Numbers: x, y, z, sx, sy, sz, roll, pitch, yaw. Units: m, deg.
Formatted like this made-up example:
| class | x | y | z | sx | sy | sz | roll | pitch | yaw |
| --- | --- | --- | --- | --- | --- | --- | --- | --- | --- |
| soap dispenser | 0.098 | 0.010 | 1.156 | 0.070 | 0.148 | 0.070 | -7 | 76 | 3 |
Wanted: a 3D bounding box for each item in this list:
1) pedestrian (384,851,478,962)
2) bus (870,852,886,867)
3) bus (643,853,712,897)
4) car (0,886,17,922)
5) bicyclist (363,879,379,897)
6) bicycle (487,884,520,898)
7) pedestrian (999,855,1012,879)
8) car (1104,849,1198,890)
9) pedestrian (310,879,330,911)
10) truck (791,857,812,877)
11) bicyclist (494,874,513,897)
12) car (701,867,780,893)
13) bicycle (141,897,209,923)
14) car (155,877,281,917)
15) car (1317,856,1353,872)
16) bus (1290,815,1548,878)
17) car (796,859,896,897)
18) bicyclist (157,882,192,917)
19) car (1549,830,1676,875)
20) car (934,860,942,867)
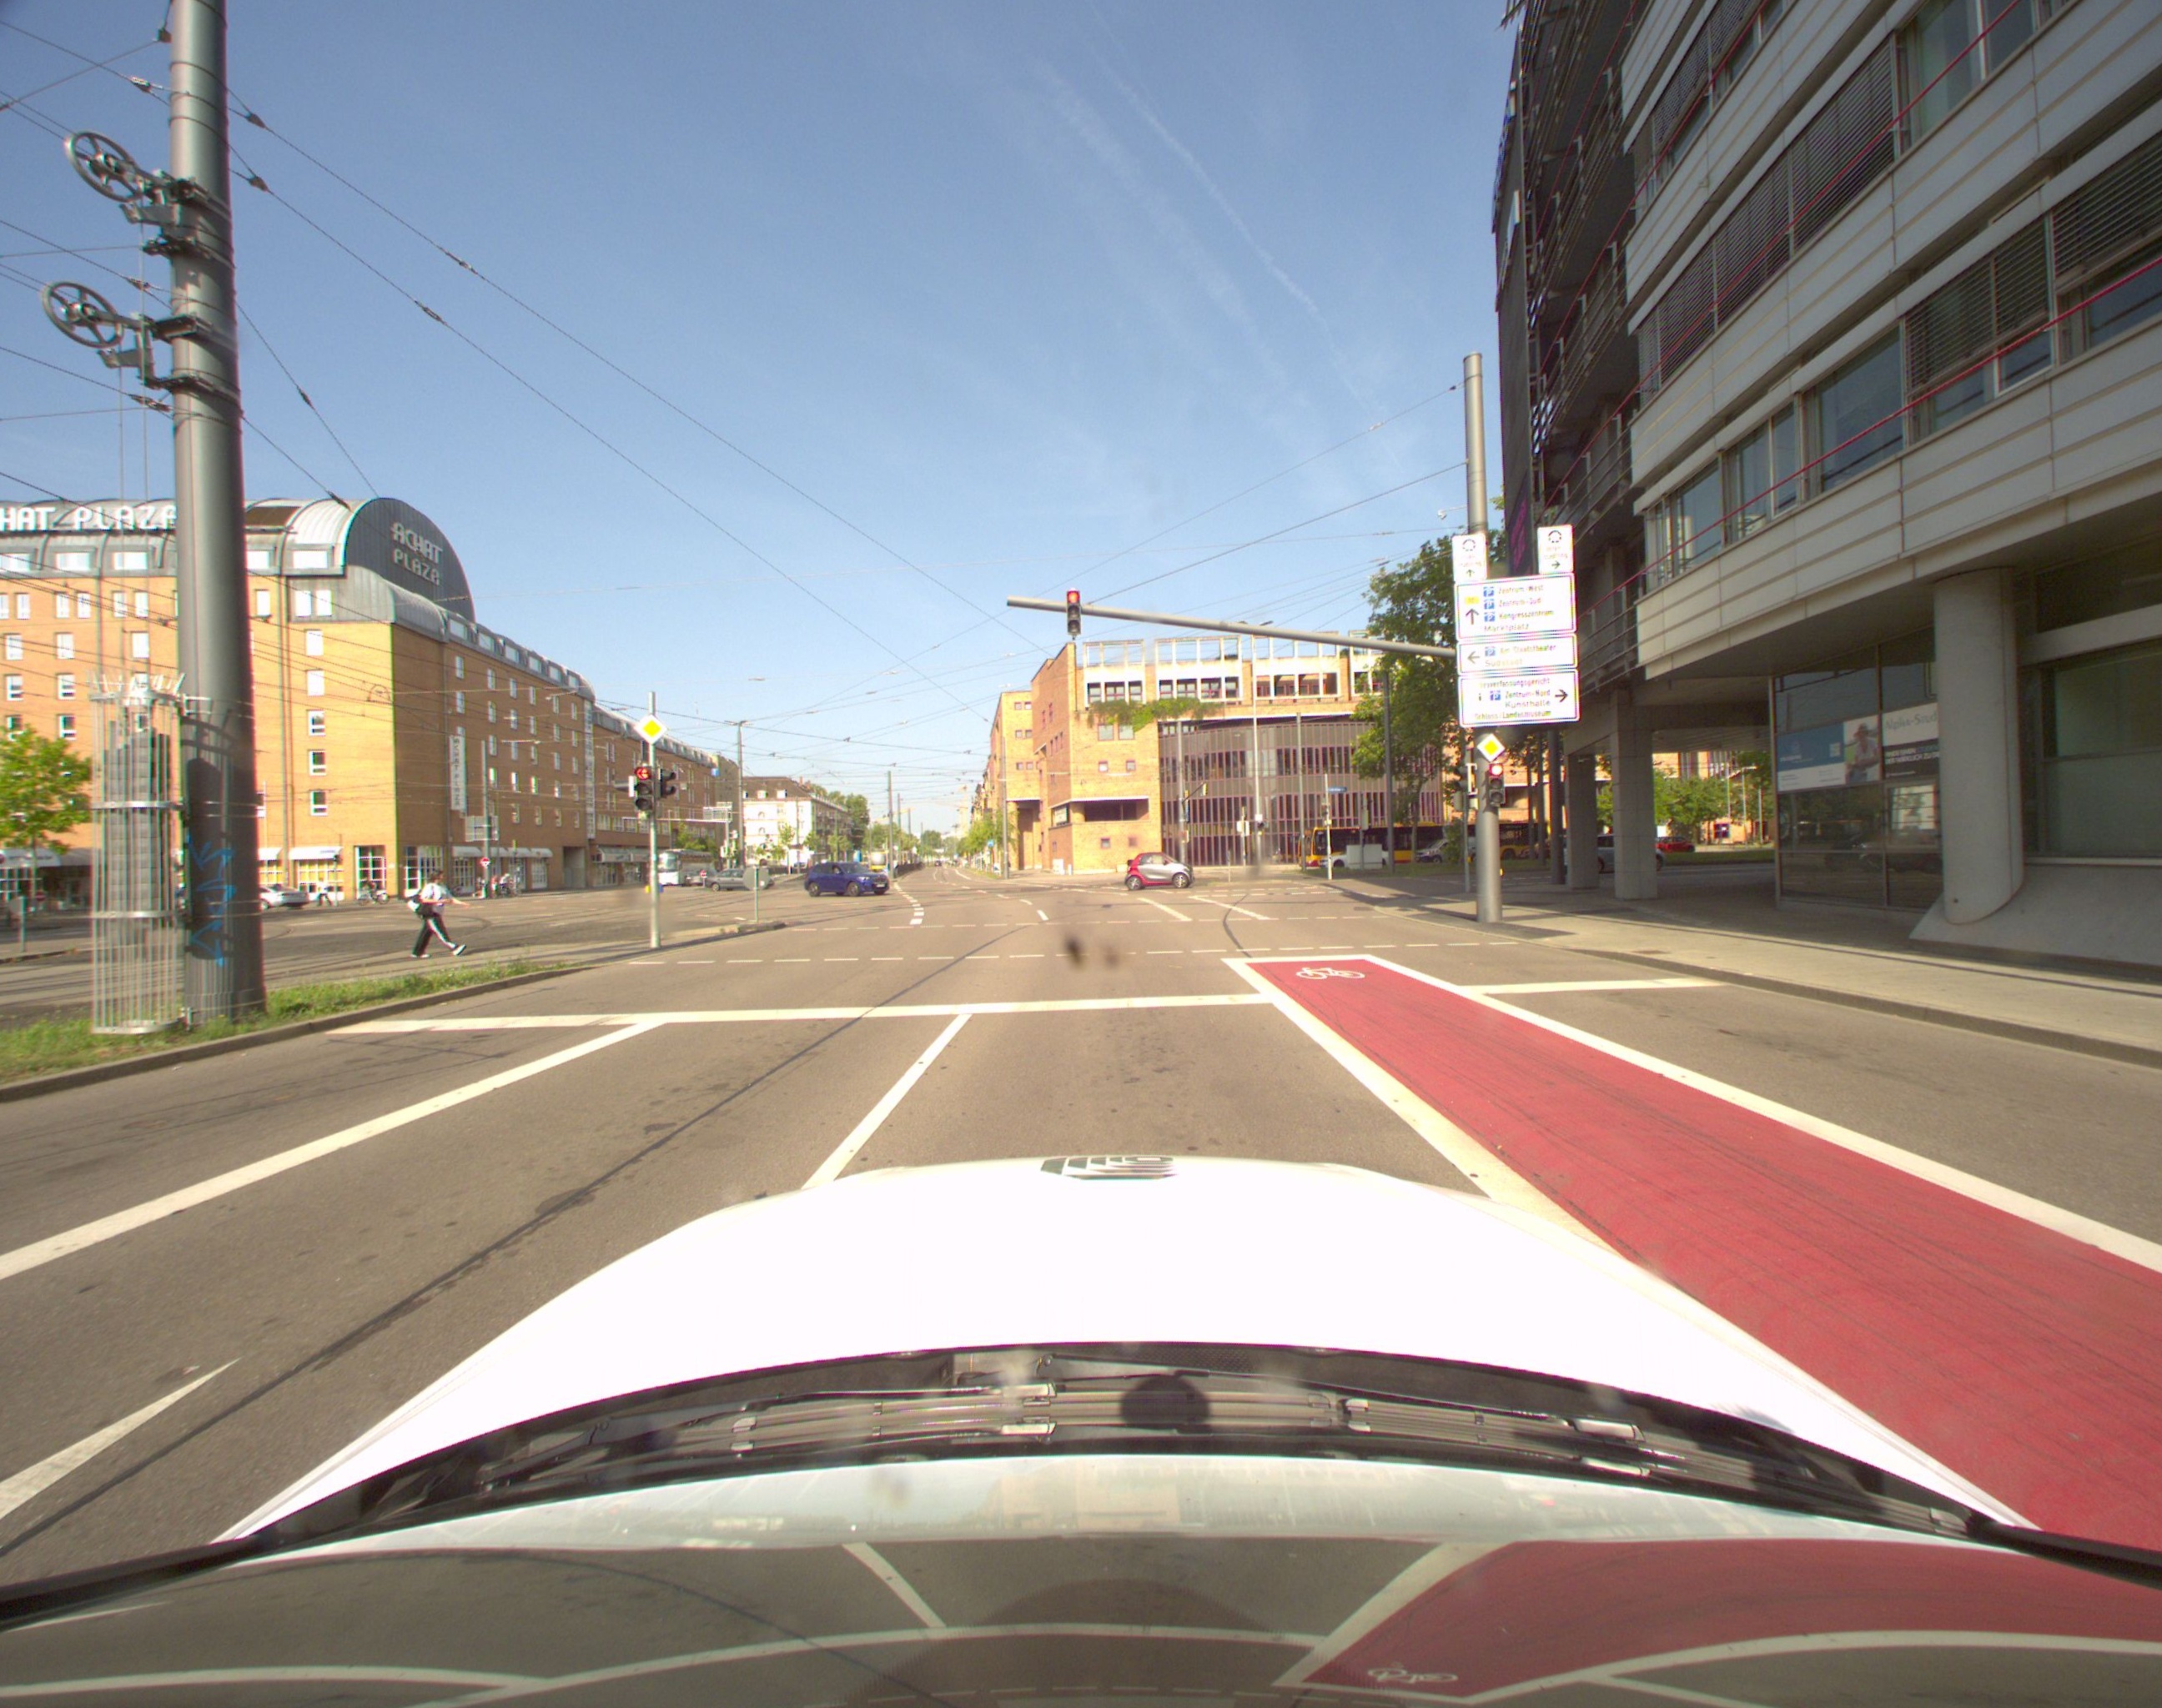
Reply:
| class | x | y | z | sx | sy | sz | roll | pitch | yaw |
| --- | --- | --- | --- | --- | --- | --- | --- | --- | --- |
| pedestrian | -12.352 | 0.976 | 15.510 | 1.157 | 2.014 | 0.772 | -1 | -2 | -16 |
| bus | -29.029 | 0.802 | 116.679 | 1.995 | 2.013 | 3.983 | -1 | 0 | -12 |
| bus | -39.510 | 2.140 | 80.199 | 2.747 | 3.921 | 12.171 | -1 | -2 | -10 |
| car | -62.498 | 2.868 | 45.167 | 3.982 | 2.014 | 1.995 | -2 | -2 | -6 |
| bicyclist | -45.454 | 2.174 | 52.130 | 0.520 | 1.129 | 0.610 | -2 | -2 | 0 |
| bicycle | -43.322 | 2.750 | 61.127 | 1.962 | 0.970 | 0.418 | -1 | -2 | -14 |
| pedestrian | -6.579 | 1.139 | 70.992 | 0.834 | 2.013 | 0.814 | -2 | 0 | 16 |
| car | 2.884 | 0.633 | 33.270 | 3.567 | 1.492 | 1.708 | -2 | -1 | 12 |
| pedestrian | -48.362 | 2.600 | 51.757 | 0.753 | 1.953 | 0.874 | -2 | 0 | -36 |
| truck | -38.575 | 1.766 | 112.384 | 1.994 | 2.599 | 4.723 | -2 | -2 | -10 |
| bicyclist | -43.334 | 2.387 | 61.133 | 0.988 | 1.696 | 0.667 | -1 | -2 | -13 |
| car | -21.788 | 1.675 | 52.203 | 4.191 | 1.487 | 2.001 | -2 | -2 | 2 |
| bicycle | -46.284 | 2.862 | 41.650 | 0.544 | 1.206 | 2.297 | -2 | -2 | 16 |
| car | -48.546 | 2.403 | 45.899 | 4.595 | 2.013 | 1.996 | -2 | 0 | -7 |
| car | 16.137 | 0.624 | 51.837 | 1.945 | 0.958 | 1.094 | -2 | 0 | 0 |
| bus | 23.600 | -0.516 | 56.921 | 17.598 | 3.811 | 2.857 | -2 | -2 | -8 |
| car | -11.115 | 1.142 | 38.517 | 4.357 | 1.636 | 2.004 | -3 | -2 | 28 |
| bicyclist | -46.298 | 2.313 | 41.605 | 0.659 | 1.747 | 0.971 | -2 | -2 | 16 |
| car | 21.880 | -0.096 | 33.593 | 4.376 | 1.634 | 1.685 | -2 | 1 | -9 |
| car | -38.710 | 2.568 | 221.051 | 2.074 | 1.542 | 4.398 | -2 | -2 | -10 |
